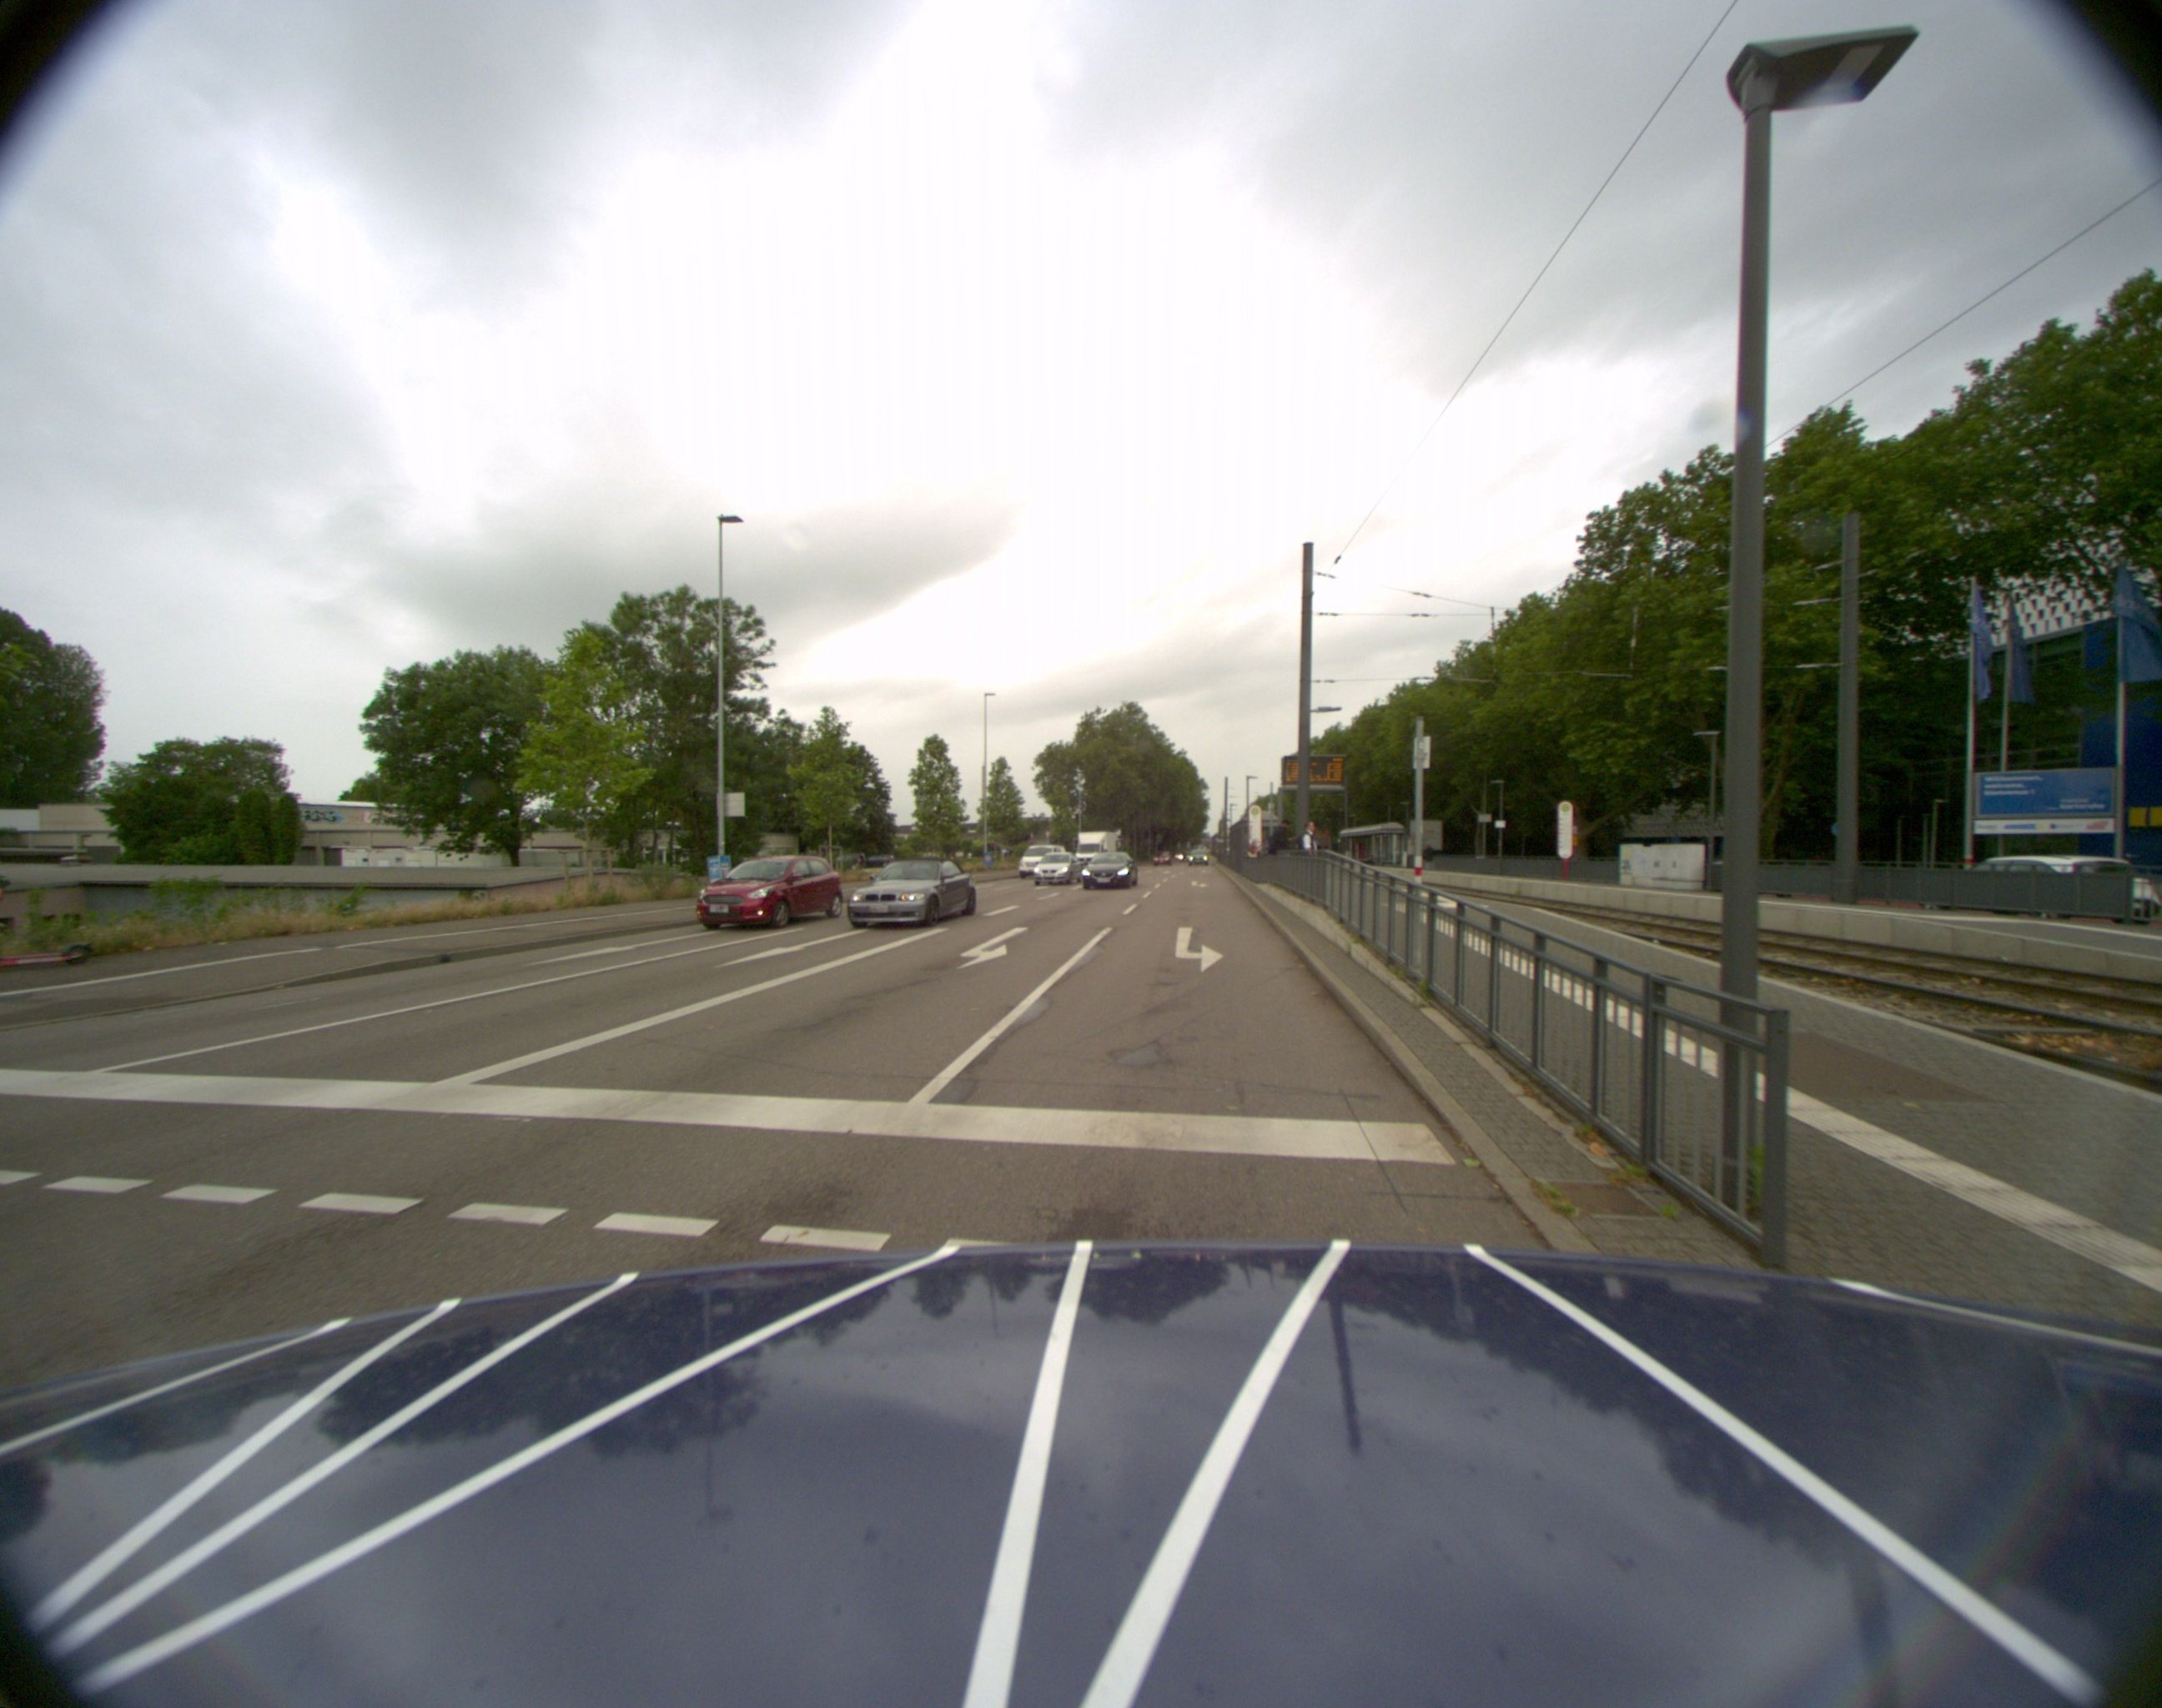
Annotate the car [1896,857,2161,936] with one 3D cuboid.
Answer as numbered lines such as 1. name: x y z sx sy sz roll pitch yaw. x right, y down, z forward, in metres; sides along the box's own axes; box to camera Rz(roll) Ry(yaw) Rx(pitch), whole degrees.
1. car: 23.572 0.958 19.109 1.795 1.577 4.143 3 2 5

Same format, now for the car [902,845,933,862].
1. car: -20.735 -0.039 96.588 2.314 2.002 4.561 -1 0 9

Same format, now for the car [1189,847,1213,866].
1. car: 11.694 0.202 74.004 1.958 1.674 4.003 -1 1 14

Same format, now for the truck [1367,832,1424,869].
1. truck: 33.694 -0.407 81.809 3.257 3.642 9.902 3 1 9

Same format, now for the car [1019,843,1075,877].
1. car: -1.936 0.339 44.889 2.097 1.869 5.124 -1 0 11

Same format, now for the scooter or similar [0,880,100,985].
1. scooter or similar: -13.277 0.975 9.544 0.374 1.208 1.048 1 4 16

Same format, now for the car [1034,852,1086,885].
1. car: -0.915 0.637 34.956 1.680 1.410 3.852 -1 0 9

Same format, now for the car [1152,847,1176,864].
1. car: 8.757 0.174 80.006 1.890 1.673 4.003 -1 1 14

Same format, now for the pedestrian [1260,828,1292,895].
1. pedestrian: 5.138 0.197 20.061 0.787 1.732 0.587 -1 2 13

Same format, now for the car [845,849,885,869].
1. car: -22.374 0.489 78.932 2.186 2.002 4.562 2 0 10

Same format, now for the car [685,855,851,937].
1. car: -6.693 0.828 16.702 1.654 1.552 3.773 -1 0 8

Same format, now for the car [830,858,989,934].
1. car: -3.583 0.834 16.797 1.873 1.383 4.347 -1 0 10

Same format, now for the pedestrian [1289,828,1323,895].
1. pedestrian: 5.334 0.164 18.054 0.710 1.551 0.633 -1 2 12

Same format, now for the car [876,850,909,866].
1. car: -21.558 0.446 87.020 2.121 1.686 4.653 -1 0 6

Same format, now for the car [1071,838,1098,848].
1. car: 0.529 -1.676 116.644 3.995 1.499 1.811 -1 1 5

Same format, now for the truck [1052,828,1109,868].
1. truck: 0.091 -0.461 58.822 2.823 2.906 6.551 -1 0 14

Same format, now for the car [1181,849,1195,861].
1. car: 15.484 0.083 110.287 1.710 1.664 3.717 1 1 12

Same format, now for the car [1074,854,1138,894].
1. car: 1.049 0.727 29.433 1.997 1.383 4.346 -1 0 8
